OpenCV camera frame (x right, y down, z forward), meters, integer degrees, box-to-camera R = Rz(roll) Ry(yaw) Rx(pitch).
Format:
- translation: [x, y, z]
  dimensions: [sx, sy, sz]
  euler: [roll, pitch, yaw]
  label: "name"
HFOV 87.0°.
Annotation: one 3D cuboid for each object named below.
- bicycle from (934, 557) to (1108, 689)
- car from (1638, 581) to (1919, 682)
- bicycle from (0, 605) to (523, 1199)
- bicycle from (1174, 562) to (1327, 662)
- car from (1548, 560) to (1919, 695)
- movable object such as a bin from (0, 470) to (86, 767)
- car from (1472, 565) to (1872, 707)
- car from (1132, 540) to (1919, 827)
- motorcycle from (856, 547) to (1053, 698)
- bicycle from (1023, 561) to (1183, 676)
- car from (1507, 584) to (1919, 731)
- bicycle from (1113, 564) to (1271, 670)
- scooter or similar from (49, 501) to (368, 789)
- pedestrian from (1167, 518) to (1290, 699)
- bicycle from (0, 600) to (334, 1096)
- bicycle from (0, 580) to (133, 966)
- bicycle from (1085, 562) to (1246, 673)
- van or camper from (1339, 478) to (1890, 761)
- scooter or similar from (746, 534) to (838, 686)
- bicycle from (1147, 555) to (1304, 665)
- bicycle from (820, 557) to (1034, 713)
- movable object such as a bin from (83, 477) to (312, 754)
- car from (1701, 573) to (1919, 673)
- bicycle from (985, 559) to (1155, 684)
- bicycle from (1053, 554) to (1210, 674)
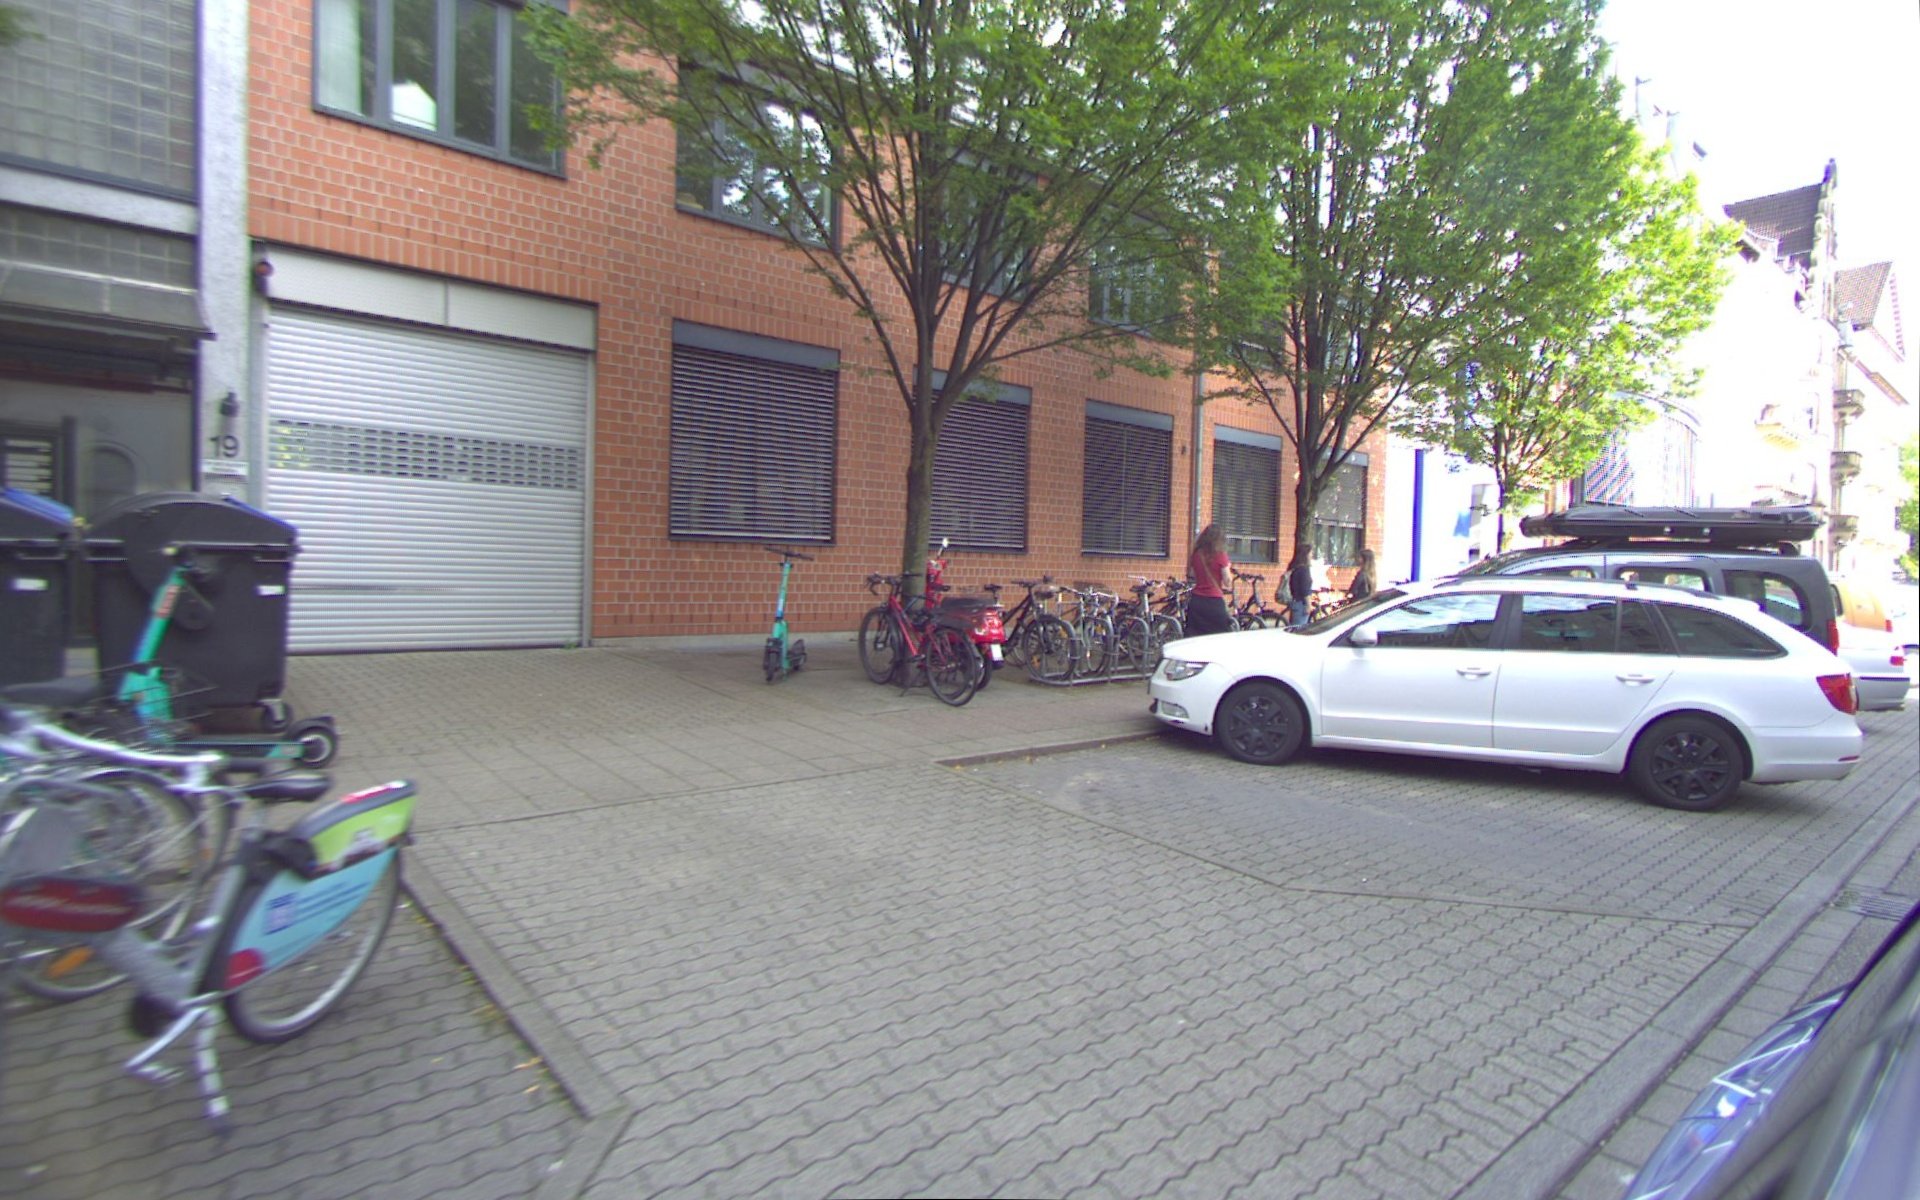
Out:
- translation: [0.609, 0.196, 10.806]
  dimensions: [0.608, 1.154, 1.920]
  euler: [0, 6, -42]
  label: "bicycle"
- translation: [13.859, 0.462, 16.746]
  dimensions: [3.947, 1.527, 1.988]
  euler: [1, 1, 19]
  label: "car"
- translation: [-1.863, 0.658, 2.398]
  dimensions: [0.690, 1.227, 1.745]
  euler: [0, 2, 9]
  label: "bicycle"
- translation: [3.900, 0.124, 13.738]
  dimensions: [0.608, 1.125, 1.895]
  euler: [0, 6, -42]
  label: "bicycle"
- translation: [11.142, 0.330, 14.902]
  dimensions: [3.947, 1.783, 1.902]
  euler: [1, 1, 19]
  label: "car"
- translation: [-5.648, 0.045, 5.634]
  dimensions: [1.144, 1.476, 1.375]
  euler: [0, 9, -43]
  label: "movable object such as a bin"
- translation: [9.073, 0.384, 13.336]
  dimensions: [3.874, 1.660, 1.935]
  euler: [1, 1, 19]
  label: "car"
- translation: [3.866, 0.432, 7.824]
  dimensions: [4.745, 1.562, 1.861]
  euler: [4, 3, 18]
  label: "car"
- translation: [-0.107, 0.166, 10.150]
  dimensions: [0.813, 1.241, 1.984]
  euler: [0, 6, -42]
  label: "motorcycle"
- translation: [1.606, 0.170, 11.672]
  dimensions: [0.528, 1.132, 1.886]
  euler: [0, 5, -42]
  label: "bicycle"
- translation: [8.384, 0.543, 11.079]
  dimensions: [3.947, 1.417, 1.652]
  euler: [1, 1, 19]
  label: "car"
- translation: [2.928, 0.177, 12.945]
  dimensions: [0.608, 1.115, 1.895]
  euler: [0, 6, -42]
  label: "bicycle"
- translation: [-3.956, 0.212, 5.436]
  dimensions: [1.294, 1.397, 0.526]
  euler: [0, 1, -26]
  label: "scooter or similar"
- translation: [2.797, 0.059, 10.537]
  dimensions: [0.937, 1.759, 0.753]
  euler: [0, 5, -45]
  label: "pedestrian"
- translation: [-2.620, 0.643, 2.898]
  dimensions: [0.441, 1.166, 1.786]
  euler: [0, 3, 3]
  label: "bicycle"
- translation: [-3.341, 0.582, 2.895]
  dimensions: [0.461, 1.227, 1.717]
  euler: [0, 2, 3]
  label: "bicycle"
- translation: [2.494, 0.178, 12.496]
  dimensions: [0.608, 1.133, 1.895]
  euler: [0, 6, -42]
  label: "bicycle"
- translation: [5.711, 0.114, 9.514]
  dimensions: [3.949, 2.206, 1.987]
  euler: [1, 1, 20]
  label: "van or camper"
- translation: [-1.608, 0.050, 9.833]
  dimensions: [0.515, 1.329, 1.321]
  euler: [4, 4, 4]
  label: "scooter or similar"
- translation: [3.449, 0.094, 13.310]
  dimensions: [0.608, 1.219, 1.895]
  euler: [0, 6, -42]
  label: "bicycle"
- translation: [-0.355, 0.250, 9.203]
  dimensions: [0.806, 1.108, 2.026]
  euler: [0, 6, -40]
  label: "bicycle"
- translation: [-4.817, 0.029, 6.361]
  dimensions: [1.020, 1.462, 1.375]
  euler: [0, 7, -43]
  label: "movable object such as a bin"
- translation: [16.113, 0.379, 18.299]
  dimensions: [3.947, 1.694, 1.916]
  euler: [1, 1, 19]
  label: "car"
- translation: [1.177, 0.191, 11.265]
  dimensions: [0.608, 1.145, 1.895]
  euler: [0, 6, -42]
  label: "bicycle"
- translation: [2.013, 0.124, 12.099]
  dimensions: [0.608, 1.219, 1.781]
  euler: [0, 6, -42]
  label: "bicycle"
